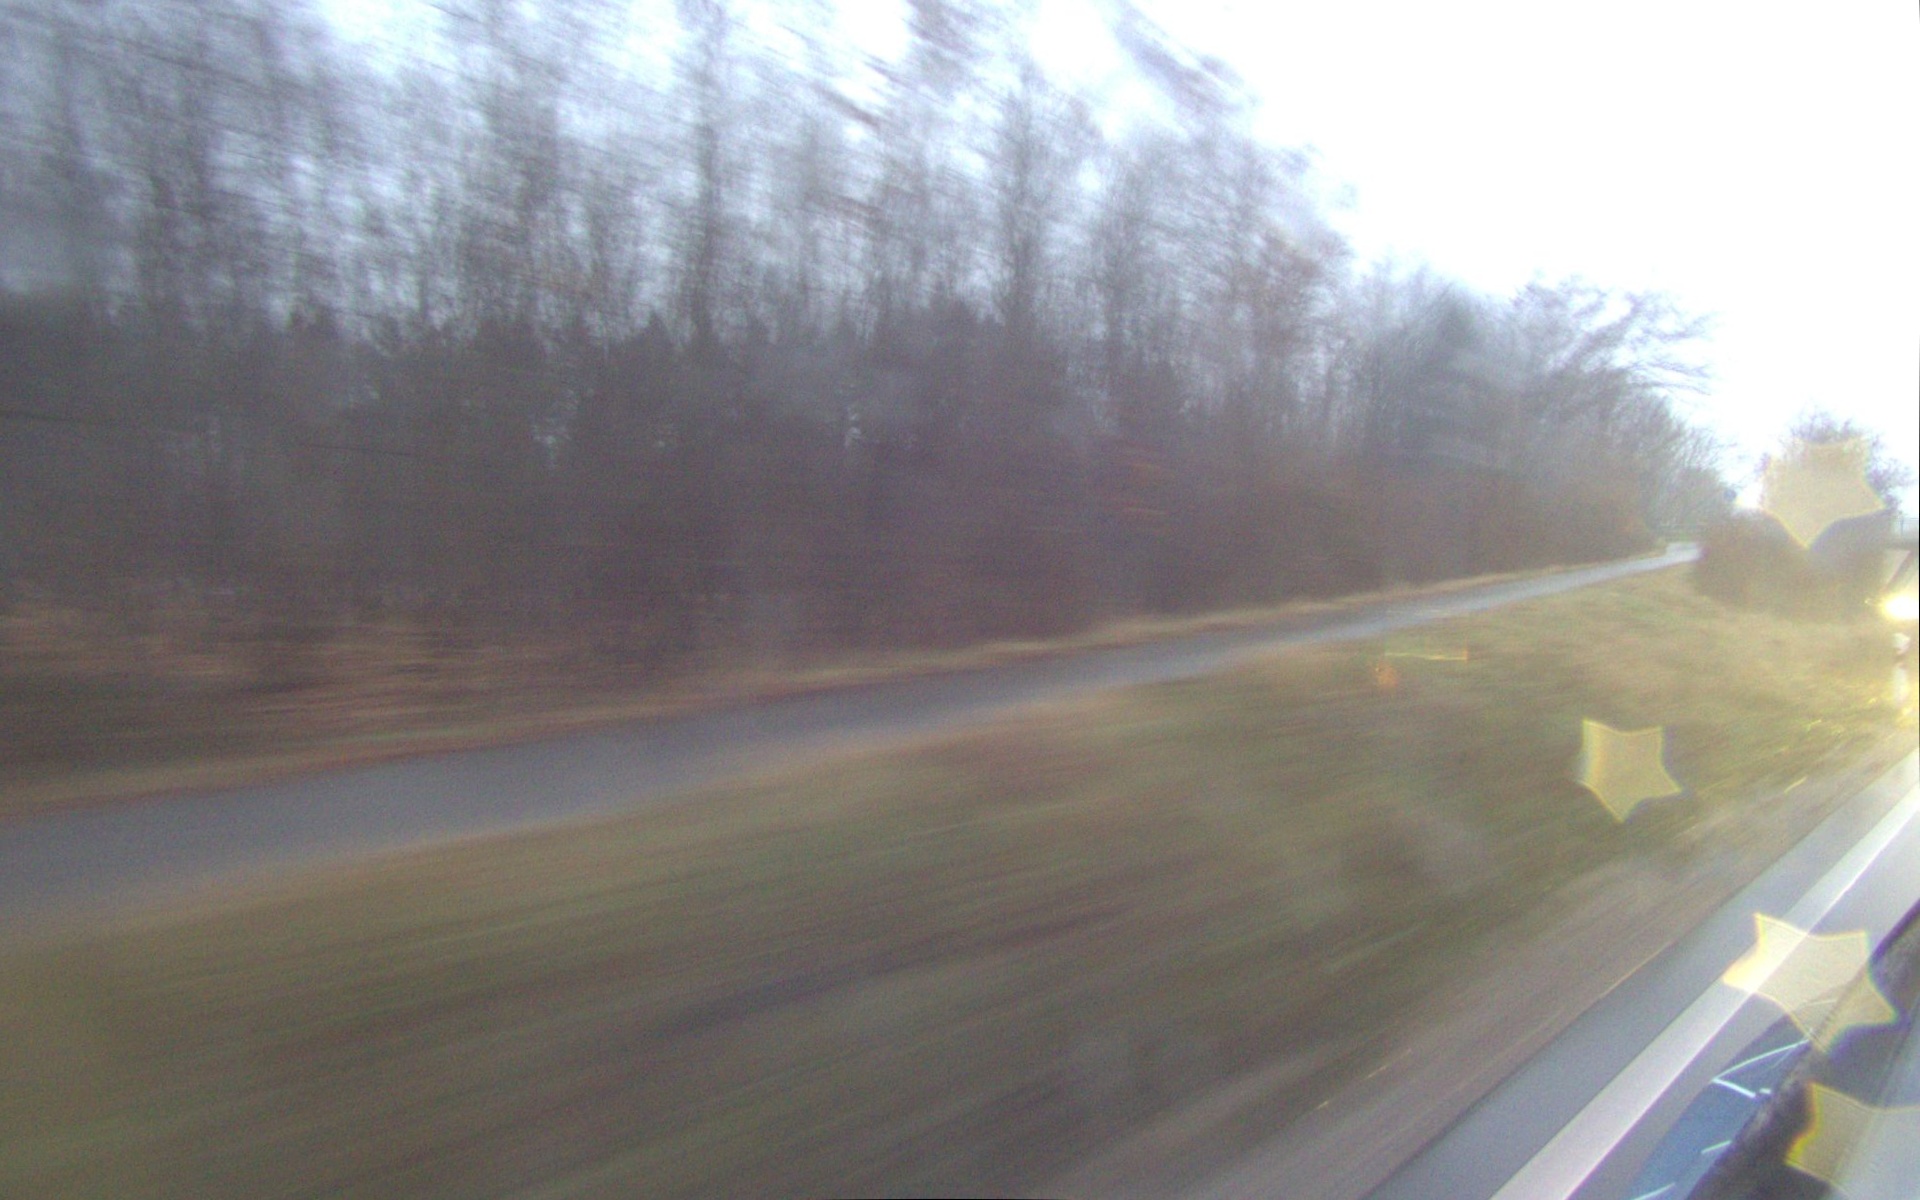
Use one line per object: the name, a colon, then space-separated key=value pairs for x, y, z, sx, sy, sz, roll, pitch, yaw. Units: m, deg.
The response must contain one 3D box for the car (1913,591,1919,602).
car: x=133.010 y=-0.513 z=139.661 sx=1.801 sy=1.472 sz=4.317 roll=0 pitch=0 yaw=39
